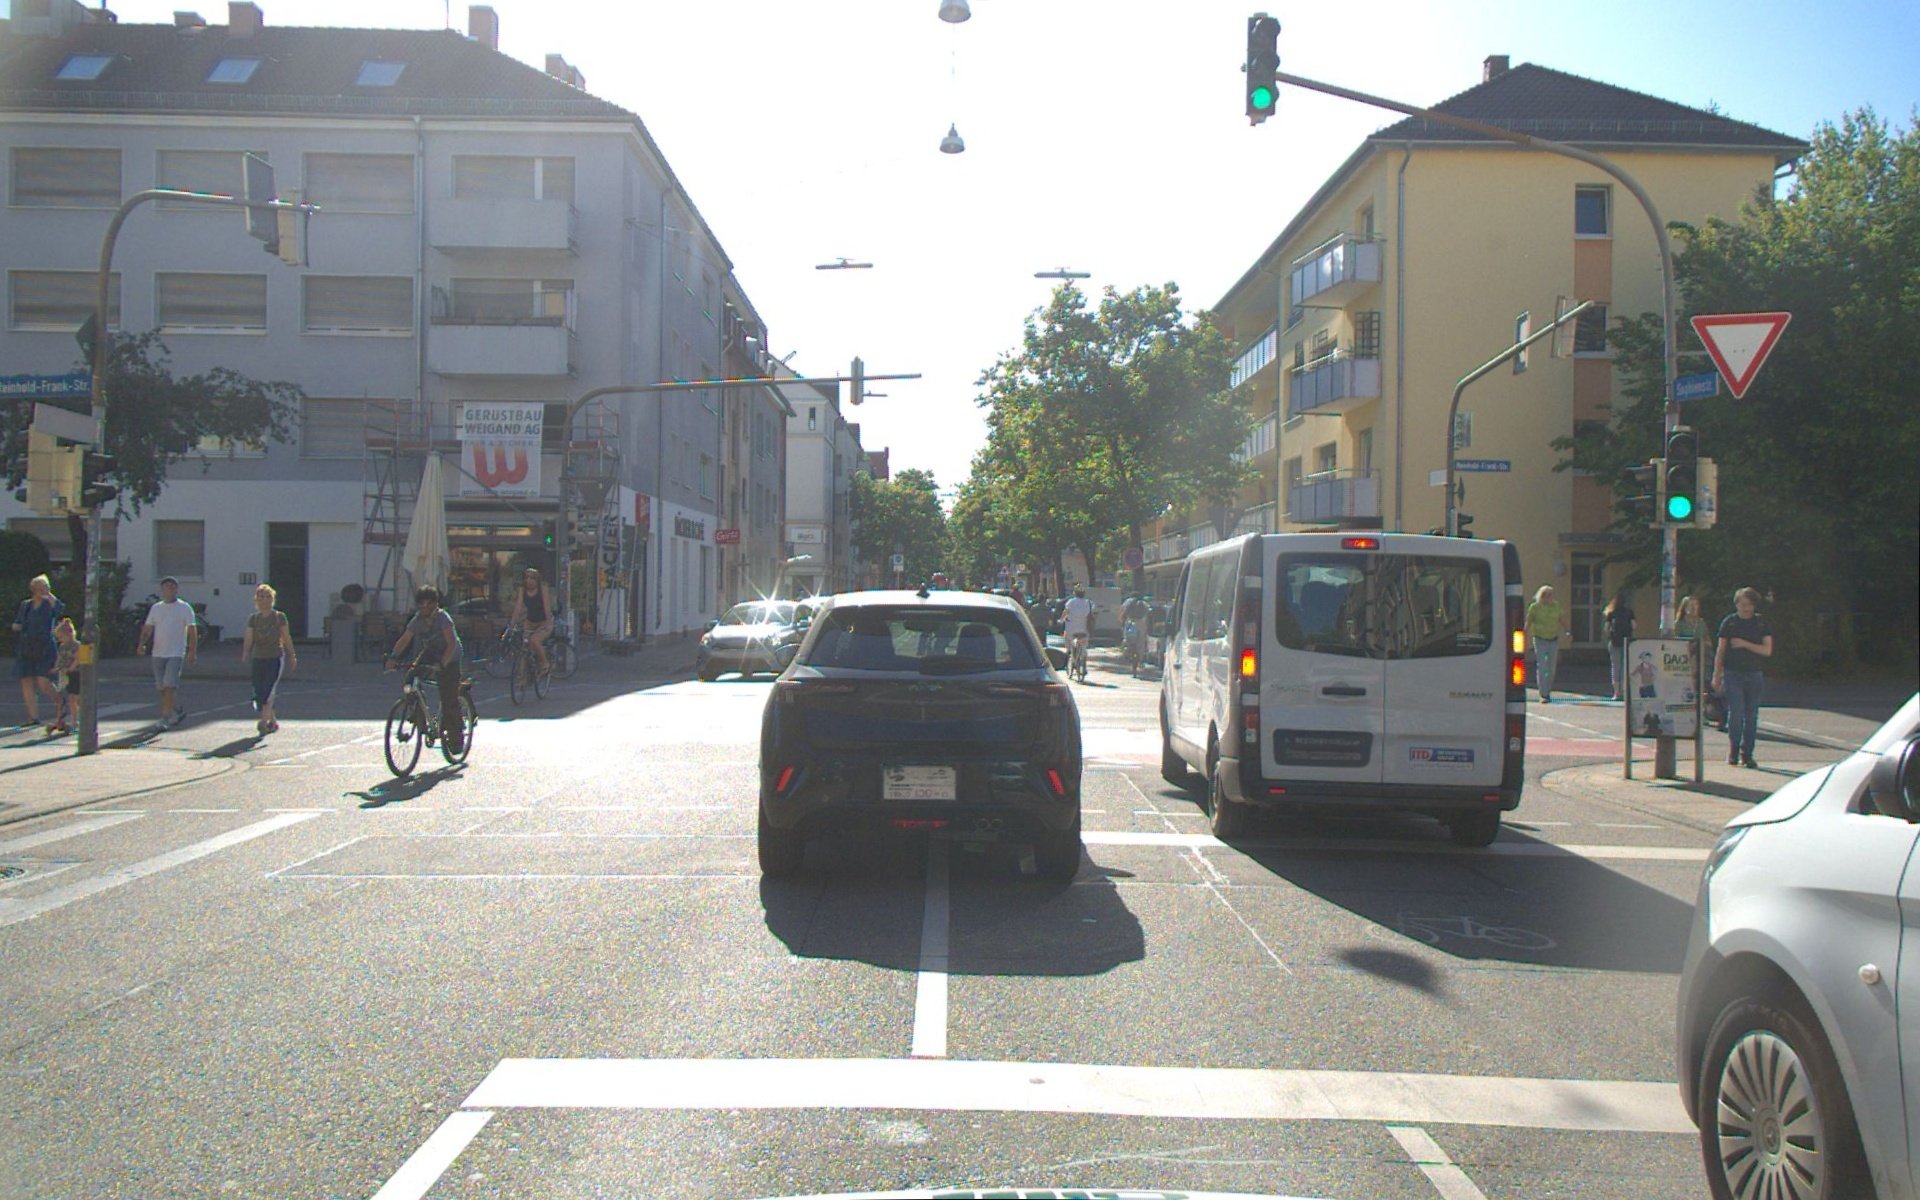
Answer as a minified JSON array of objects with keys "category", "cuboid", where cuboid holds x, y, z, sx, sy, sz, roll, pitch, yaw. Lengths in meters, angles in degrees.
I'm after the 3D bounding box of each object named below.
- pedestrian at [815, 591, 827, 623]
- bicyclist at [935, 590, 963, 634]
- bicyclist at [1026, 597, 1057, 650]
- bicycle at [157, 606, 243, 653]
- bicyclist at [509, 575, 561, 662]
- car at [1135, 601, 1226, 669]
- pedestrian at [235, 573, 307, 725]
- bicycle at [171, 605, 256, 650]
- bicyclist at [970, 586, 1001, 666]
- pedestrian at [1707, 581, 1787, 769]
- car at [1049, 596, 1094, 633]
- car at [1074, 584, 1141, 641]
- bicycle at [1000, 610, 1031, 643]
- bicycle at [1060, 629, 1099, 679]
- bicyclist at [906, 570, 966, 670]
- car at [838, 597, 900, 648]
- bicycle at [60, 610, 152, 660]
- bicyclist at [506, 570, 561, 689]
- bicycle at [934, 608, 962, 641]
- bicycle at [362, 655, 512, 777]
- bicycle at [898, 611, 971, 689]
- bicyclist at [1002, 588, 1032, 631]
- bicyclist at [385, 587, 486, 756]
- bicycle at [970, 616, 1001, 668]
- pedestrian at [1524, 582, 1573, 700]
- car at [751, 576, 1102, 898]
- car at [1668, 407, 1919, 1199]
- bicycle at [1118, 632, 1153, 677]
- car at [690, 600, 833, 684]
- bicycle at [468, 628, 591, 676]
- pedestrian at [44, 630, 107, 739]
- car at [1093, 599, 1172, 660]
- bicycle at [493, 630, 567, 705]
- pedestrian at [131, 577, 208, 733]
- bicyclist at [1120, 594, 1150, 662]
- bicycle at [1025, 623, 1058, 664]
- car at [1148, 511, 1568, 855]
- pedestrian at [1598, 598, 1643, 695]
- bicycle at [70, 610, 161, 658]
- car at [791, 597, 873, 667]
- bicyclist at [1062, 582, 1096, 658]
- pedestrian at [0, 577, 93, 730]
[{"category":"pedestrian","cuboid":[-6.963,0.345,82.625,0.566,1.610,0.707,0,0,-6]},{"category":"bicyclist","cuboid":[-0.355,0.383,52.156,0.839,1.337,1.210,3,0,-1]},{"category":"bicyclist","cuboid":[1.911,0.540,38.753,0.678,1.214,0.595,0,0,0]},{"category":"bicycle","cuboid":[-15.842,0.616,34.480,1.556,0.956,0.512,0,0,1]},{"category":"bicyclist","cuboid":[-7.805,0.334,30.390,0.802,1.576,0.550,1,0,-27]},{"category":"car","cuboid":[5.204,0.791,39.394,1.678,1.509,3.480,0,0,0]},{"category":"pedestrian","cuboid":[-7.469,0.522,17.943,0.520,1.609,0.563,1,0,1]},{"category":"bicycle","cuboid":[-15.842,0.579,35.116,1.556,0.956,0.512,0,0,1]},{"category":"bicyclist","cuboid":[0.544,0.557,35.655,0.619,1.698,1.050,0,0,-1]},{"category":"pedestrian","cuboid":[7.950,0.737,16.717,0.591,1.854,0.629,0,0,12]},{"category":"car","cuboid":[4.722,0.613,70.397,1.678,1.509,3.380,0,0,0]},{"category":"car","cuboid":[5.044,0.412,57.173,2.004,1.879,4.585,0,0,1]},{"category":"bicycle","cuboid":[1.766,0.846,52.619,0.839,0.961,2.307,3,0,-1]},{"category":"bicycle","cuboid":[2.245,1.007,31.271,0.607,0.881,1.876,0,0,0]},{"category":"bicyclist","cuboid":[-0.421,0.334,28.586,0.788,1.678,1.121,0,0,-15]},{"category":"car","cuboid":[-2.757,0.646,49.859,1.769,1.437,4.423,-1,0,-4]},{"category":"bicycle","cuboid":[-16.794,0.684,32.534,1.556,0.956,0.512,0,0,1]},{"category":"bicyclist","cuboid":[-5.690,0.386,22.089,0.531,1.547,0.774,0,0,-1]},{"category":"bicycle","cuboid":[-0.381,0.754,52.215,0.839,0.961,2.307,3,0,-1]},{"category":"bicycle","cuboid":[-4.524,0.979,14.428,0.531,0.918,1.827,0,0,7]},{"category":"bicycle","cuboid":[-0.464,0.848,28.704,0.788,1.277,2.130,0,0,-15]},{"category":"bicyclist","cuboid":[1.800,0.296,52.665,0.839,1.337,1.210,3,0,-1]},{"category":"bicyclist","cuboid":[-4.536,0.602,14.342,0.531,1.415,0.789,0,0,8]},{"category":"bicycle","cuboid":[0.541,0.898,35.892,0.619,1.059,1.795,0,0,-1]},{"category":"pedestrian","cuboid":[9.080,0.619,25.519,0.515,1.792,0.623,0,0,-3]},{"category":"car","cuboid":[-0.196,0.686,10.207,1.726,1.586,3.999,1,0,-1]},{"category":"car","cuboid":[2.872,0.551,1.884,1.928,1.842,4.831,1,0,-2]},{"category":"bicycle","cuboid":[3.654,1.124,34.527,0.535,0.881,1.876,0,0,0]},{"category":"car","cuboid":[-3.674,0.741,31.340,1.798,1.459,4.179,0,0,6]},{"category":"bicycle","cuboid":[-7.892,0.961,30.346,2.099,0.848,0.550,1,0,-27]},{"category":"pedestrian","cuboid":[-9.762,0.922,18.270,0.377,1.166,0.532,0,0,4]},{"category":"car","cuboid":[4.499,0.739,43.509,1.678,1.509,3.380,0,0,0]},{"category":"bicycle","cuboid":[-5.692,0.874,21.969,0.531,0.918,1.826,0,0,-1]},{"category":"pedestrian","cuboid":[-8.863,0.604,18.562,0.562,1.718,0.669,1,0,-5]},{"category":"bicyclist","cuboid":[3.674,0.584,34.771,0.535,1.406,0.823,0,0,0]},{"category":"bicycle","cuboid":[1.903,1.005,38.754,0.677,0.881,1.876,0,0,0]},{"category":"car","cuboid":[2.652,0.501,12.354,1.928,1.974,5.056,2,0,1]},{"category":"pedestrian","cuboid":[11.015,0.766,27.576,0.528,1.598,0.539,0,0,-1]},{"category":"bicycle","cuboid":[-16.906,0.674,33.114,1.556,0.956,0.512,0,0,1]},{"category":"car","cuboid":[-3.034,0.737,39.812,1.559,1.593,4.090,0,0,1]},{"category":"bicyclist","cuboid":[2.251,0.368,31.246,0.576,1.406,0.823,0,0,0]},{"category":"pedestrian","cuboid":[-10.545,0.602,19.045,0.561,1.712,0.969,1,0,2]}]
